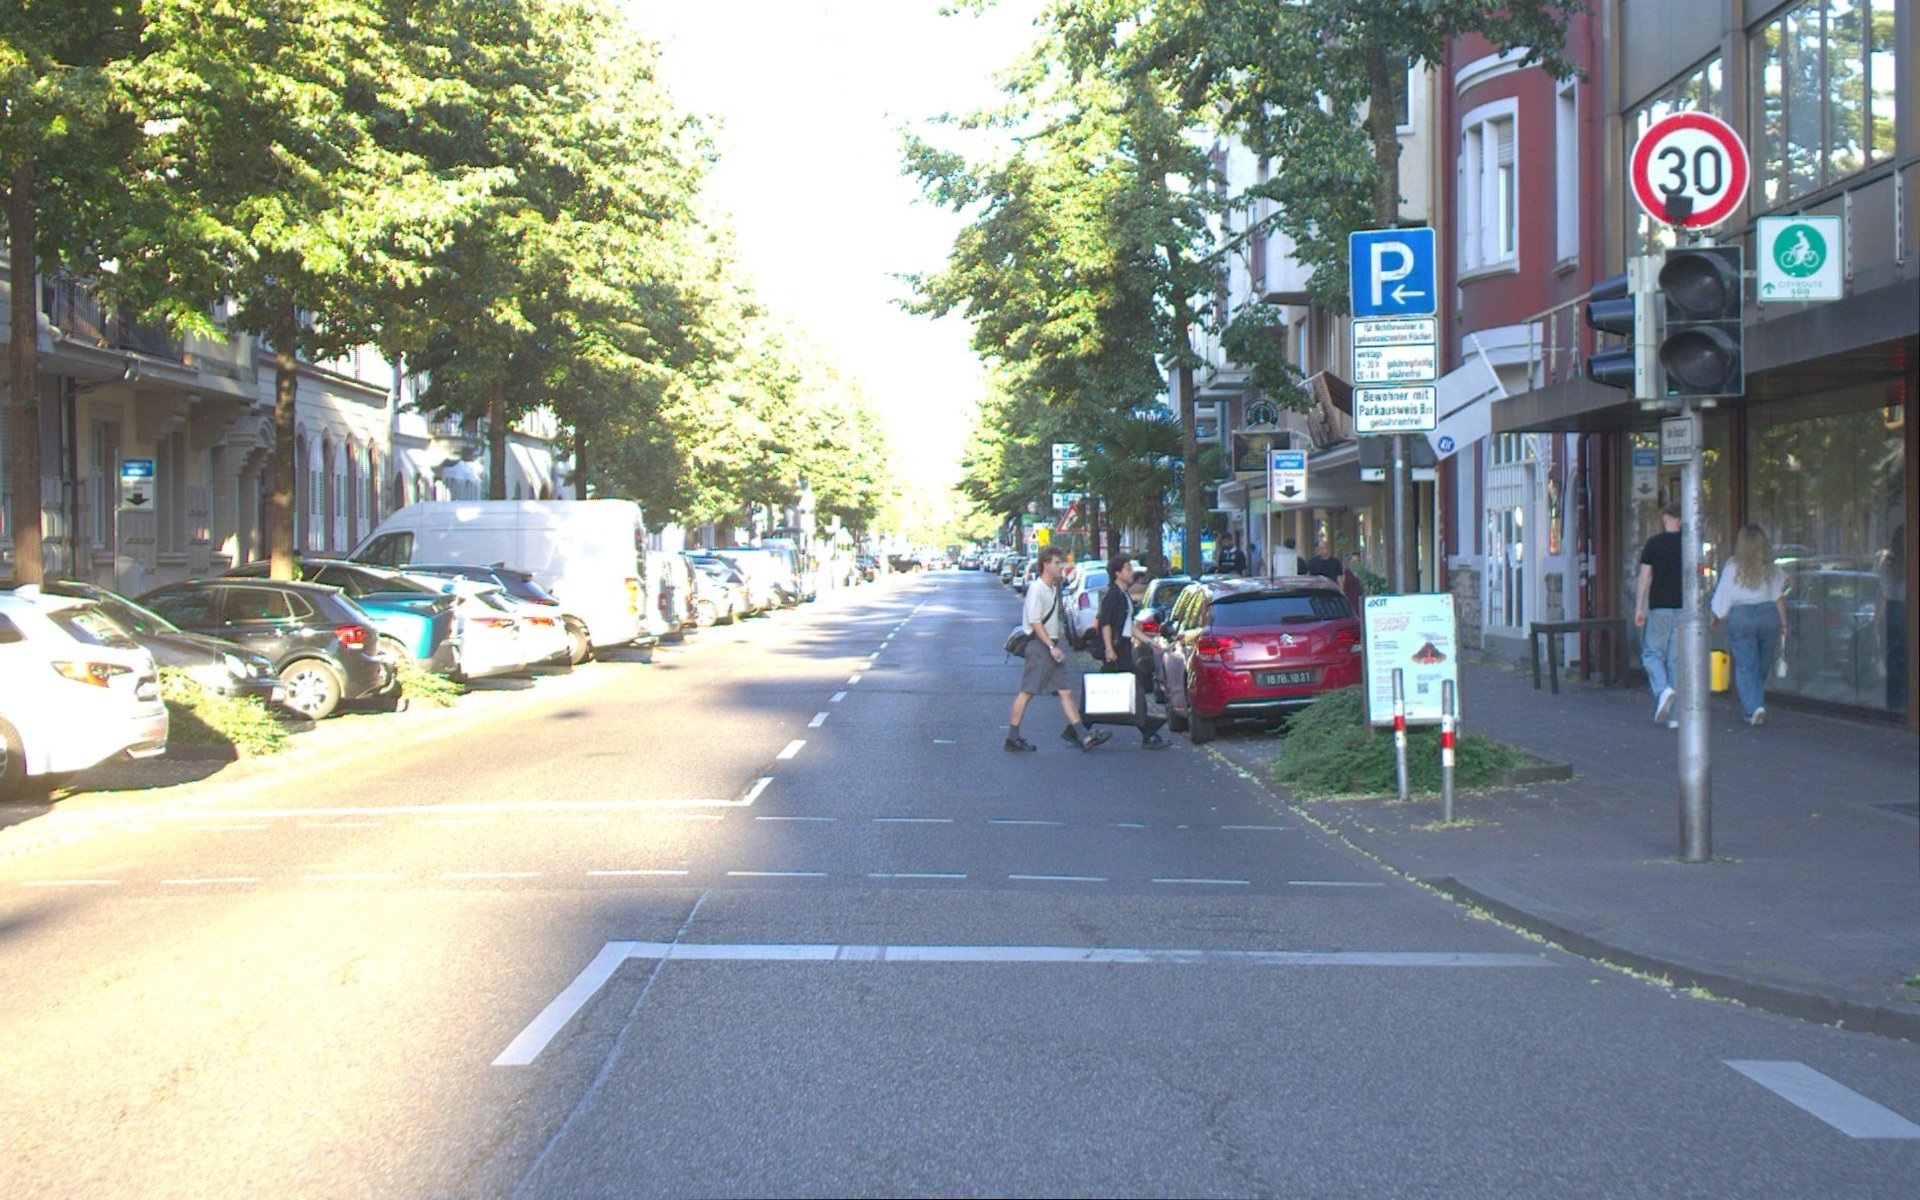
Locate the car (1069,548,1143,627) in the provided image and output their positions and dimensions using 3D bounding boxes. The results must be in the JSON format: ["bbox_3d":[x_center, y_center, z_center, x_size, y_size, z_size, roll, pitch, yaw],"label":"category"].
[{"bbox_3d":[3.028,-0.258,71.654,1.308,1.594,2.661,1,0,-3],"label":"car"}]

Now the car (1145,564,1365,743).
[{"bbox_3d":[2.715,0.467,32.278,1.576,1.537,3.397,-2,0,-3],"label":"car"}]

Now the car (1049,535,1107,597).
[{"bbox_3d":[3.093,-0.882,90.543,1.308,1.594,2.661,1,0,-3],"label":"car"}]

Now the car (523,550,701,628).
[{"bbox_3d":[-7.682,-0.250,76.206,3.739,1.702,2.000,0,1,0],"label":"car"}]

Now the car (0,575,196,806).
[{"bbox_3d":[-7.613,0.569,23.833,4.175,1.502,2.000,1,1,0],"label":"car"}]

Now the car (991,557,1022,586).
[{"bbox_3d":[2.630,-1.606,194.256,1.576,1.573,3.114,1,1,-2],"label":"car"}]

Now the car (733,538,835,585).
[{"bbox_3d":[-6.671,-1.469,130.429,3.739,1.702,2.000,1,1,0],"label":"car"}]

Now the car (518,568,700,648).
[{"bbox_3d":[-7.261,0.150,71.353,3.586,1.589,1.701,0,2,0],"label":"car"}]

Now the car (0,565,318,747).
[{"bbox_3d":[-8.228,0.483,31.199,4.426,1.594,2.000,0,0,0],"label":"car"}]

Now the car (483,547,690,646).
[{"bbox_3d":[-7.105,-0.078,65.679,3.739,1.852,2.000,0,0,0],"label":"car"}]

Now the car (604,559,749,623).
[{"bbox_3d":[-7.585,-0.241,92.307,3.739,1.702,2.000,0,0,0],"label":"car"}]

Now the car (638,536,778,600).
[{"bbox_3d":[-7.019,-0.900,95.886,3.739,1.702,2.000,1,1,0],"label":"car"}]

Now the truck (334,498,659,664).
[{"bbox_3d":[-7.390,-0.313,55.187,4.941,2.606,2.000,0,0,0],"label":"truck"}]

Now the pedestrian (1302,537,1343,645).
[{"bbox_3d":[5.465,-0.136,51.877,0.534,1.616,0.534,1,1,1],"label":"pedestrian"}]

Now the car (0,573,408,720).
[{"bbox_3d":[-8.179,0.472,36.175,4.426,1.498,2.000,0,0,0],"label":"car"}]

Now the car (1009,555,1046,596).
[{"bbox_3d":[2.688,-0.963,137.010,1.308,1.594,2.661,1,0,-3],"label":"car"}]

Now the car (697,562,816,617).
[{"bbox_3d":[-6.614,-0.346,111.891,3.739,1.702,2.000,1,1,0],"label":"car"}]

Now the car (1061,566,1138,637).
[{"bbox_3d":[2.590,0.023,64.387,1.206,1.296,2.661,1,0,-3],"label":"car"}]

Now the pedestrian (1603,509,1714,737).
[{"bbox_3d":[5.837,0.183,28.758,0.714,1.859,0.680,-2,1,-2],"label":"pedestrian"}]

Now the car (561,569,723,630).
[{"bbox_3d":[-7.672,-0.024,83.281,3.739,1.445,2.000,0,0,0],"label":"car"}]

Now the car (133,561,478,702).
[{"bbox_3d":[-7.756,0.352,40.998,3.739,1.637,2.000,0,0,0],"label":"car"}]

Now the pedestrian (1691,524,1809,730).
[{"bbox_3d":[6.600,0.215,28.750,0.765,1.683,0.786,-1,1,-2],"label":"pedestrian"}]

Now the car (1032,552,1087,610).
[{"bbox_3d":[2.766,-0.529,95.721,1.308,1.594,2.661,1,0,-3],"label":"car"}]

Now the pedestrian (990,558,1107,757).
[{"bbox_3d":[0.761,0.483,29.708,0.714,1.667,0.710,-1,2,-40],"label":"pedestrian"}]

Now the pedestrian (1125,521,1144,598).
[{"bbox_3d":[4.544,-1.052,89.583,0.449,2.007,0.424,1,1,-1],"label":"pedestrian"}]

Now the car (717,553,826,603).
[{"bbox_3d":[-6.648,-0.790,121.767,3.739,1.702,2.000,1,1,0],"label":"car"}]

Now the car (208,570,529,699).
[{"bbox_3d":[-7.454,0.414,43.599,3.739,1.590,2.000,0,0,0],"label":"car"}]

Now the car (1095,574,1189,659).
[{"bbox_3d":[2.851,0.243,54.136,1.206,1.296,2.661,1,0,-3],"label":"car"}]

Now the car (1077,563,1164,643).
[{"bbox_3d":[2.670,0.049,57.509,1.206,1.296,2.661,1,0,-3],"label":"car"}]

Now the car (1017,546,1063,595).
[{"bbox_3d":[2.646,-0.972,114.100,1.308,1.594,2.661,1,0,-3],"label":"car"}]

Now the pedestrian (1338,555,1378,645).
[{"bbox_3d":[6.065,-0.009,52.362,0.534,1.356,0.534,1,1,1],"label":"pedestrian"}]

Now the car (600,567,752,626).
[{"bbox_3d":[-7.251,-0.092,87.989,3.739,1.487,2.000,0,0,0],"label":"car"}]

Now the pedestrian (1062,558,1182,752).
[{"bbox_3d":[1.435,0.474,30.541,0.721,1.677,0.757,0,2,-40],"label":"pedestrian"}]

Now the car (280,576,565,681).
[{"bbox_3d":[-7.588,0.390,48.793,3.739,1.445,2.000,0,0,0],"label":"car"}]

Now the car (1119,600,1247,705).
[{"bbox_3d":[2.830,0.652,44.064,1.304,1.288,3.014,0,0,-3],"label":"car"}]
